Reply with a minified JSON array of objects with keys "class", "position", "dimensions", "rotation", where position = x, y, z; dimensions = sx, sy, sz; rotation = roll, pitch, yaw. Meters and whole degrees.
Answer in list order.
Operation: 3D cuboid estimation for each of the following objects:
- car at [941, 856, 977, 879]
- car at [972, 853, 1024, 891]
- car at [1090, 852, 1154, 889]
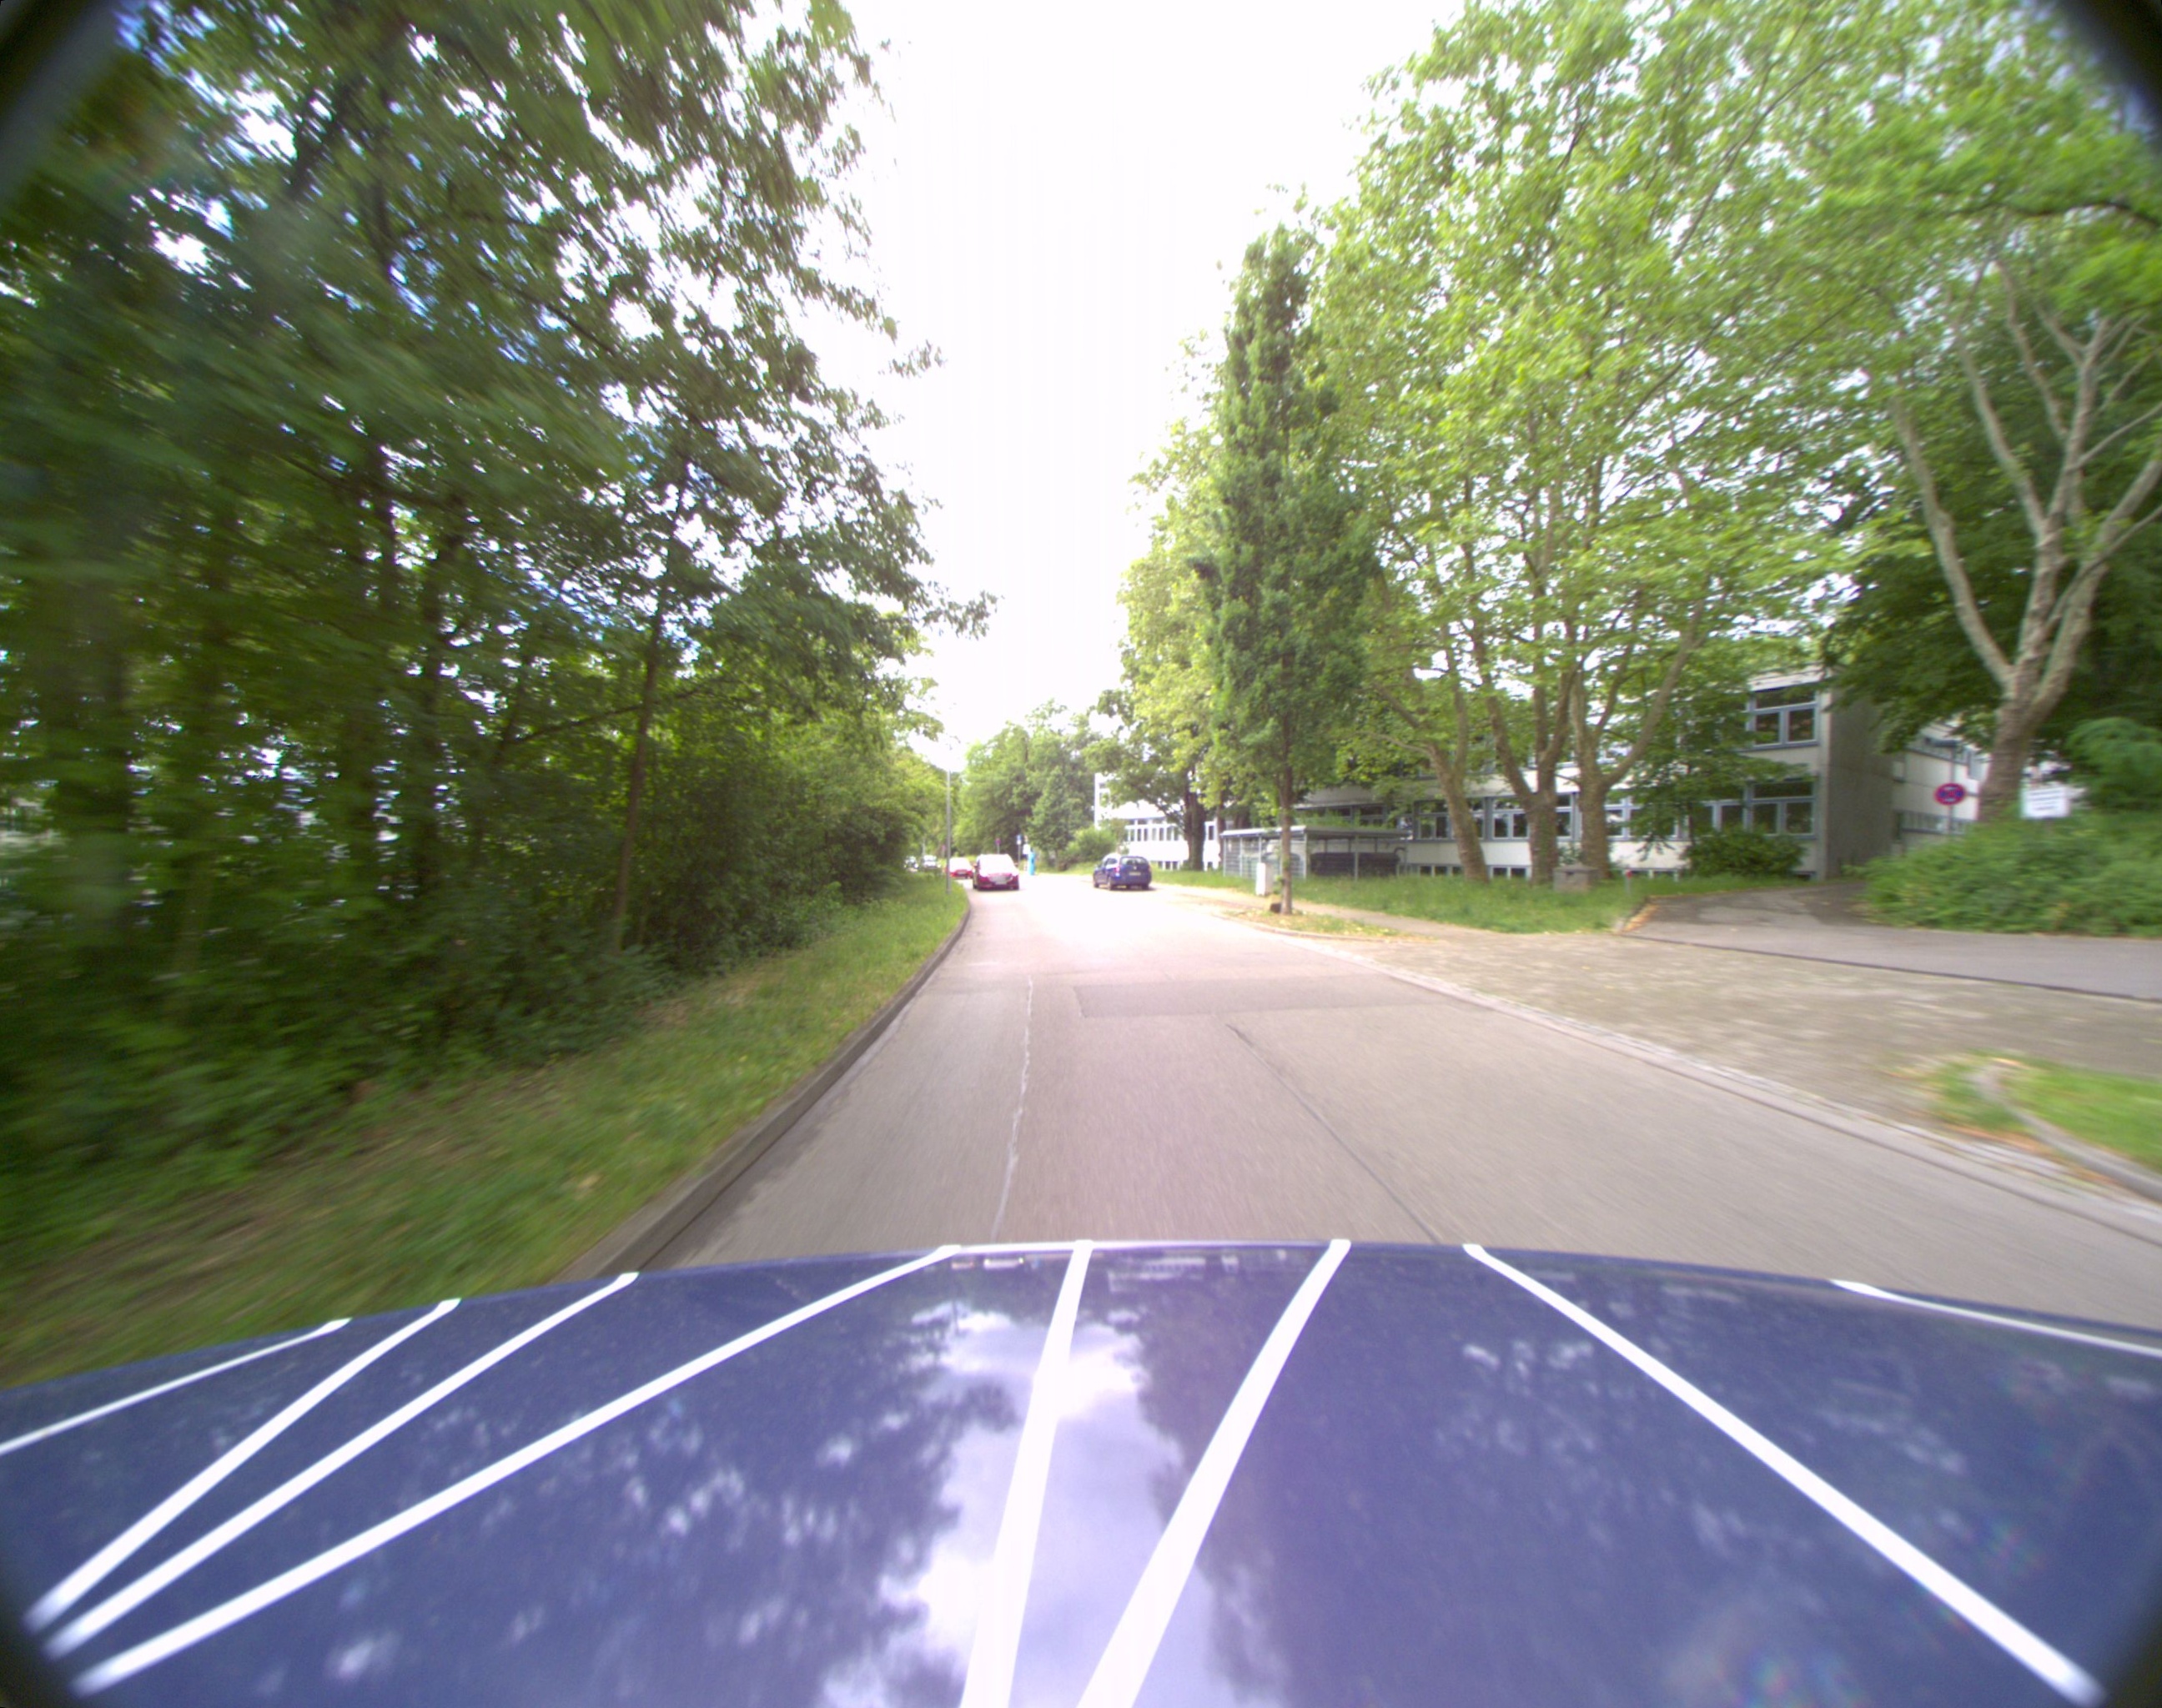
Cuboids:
[{"class":"car","position":[-8.609,0.915,53.379],"dimensions":[2.001,1.564,3.995],"rotation":[1,0,-15]},{"class":"car","position":[-3.976,0.798,35.795],"dimensions":[1.863,1.608,4.471],"rotation":[-2,0,-13]},{"class":"car","position":[1.691,0.677,33.128],"dimensions":[1.686,1.503,4.426],"rotation":[0,0,-12]}]
